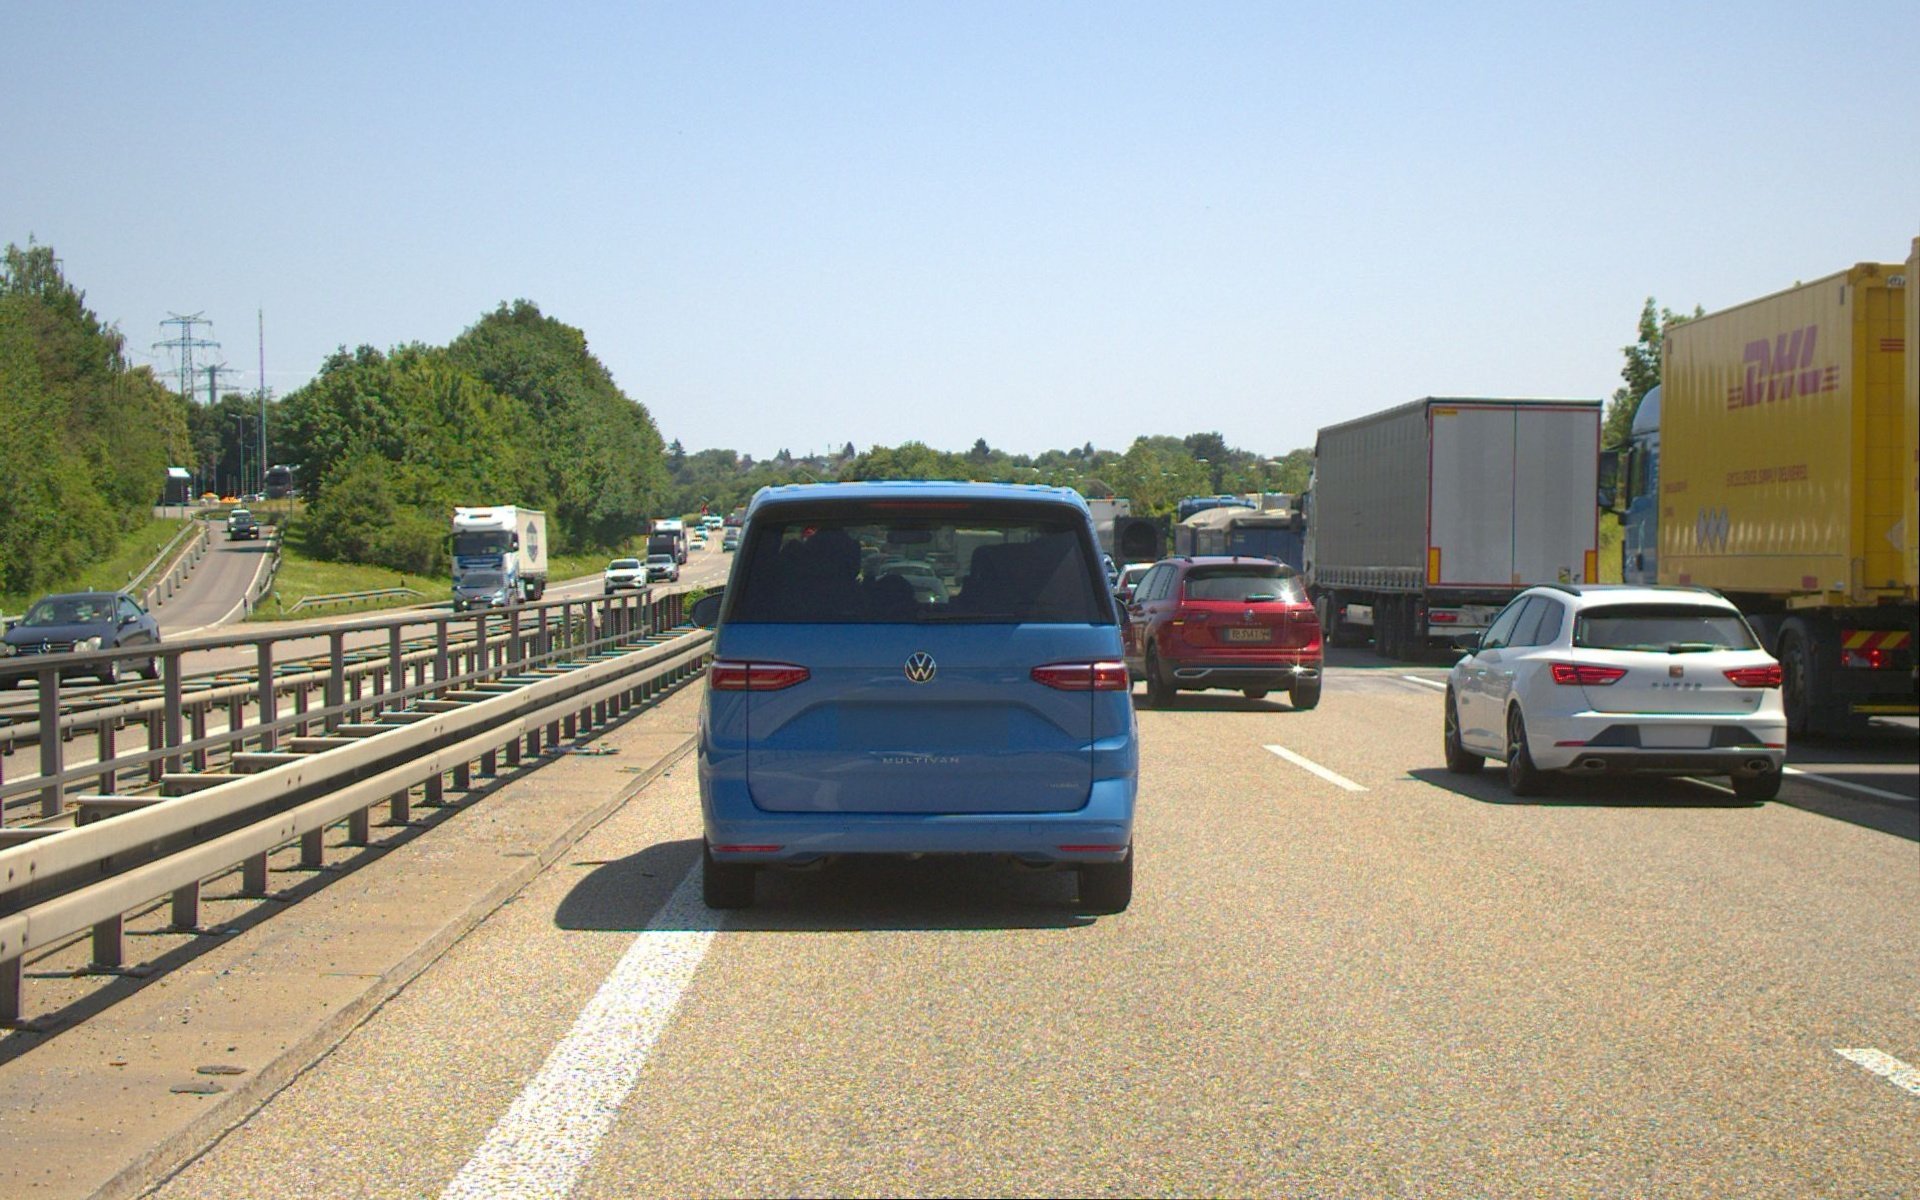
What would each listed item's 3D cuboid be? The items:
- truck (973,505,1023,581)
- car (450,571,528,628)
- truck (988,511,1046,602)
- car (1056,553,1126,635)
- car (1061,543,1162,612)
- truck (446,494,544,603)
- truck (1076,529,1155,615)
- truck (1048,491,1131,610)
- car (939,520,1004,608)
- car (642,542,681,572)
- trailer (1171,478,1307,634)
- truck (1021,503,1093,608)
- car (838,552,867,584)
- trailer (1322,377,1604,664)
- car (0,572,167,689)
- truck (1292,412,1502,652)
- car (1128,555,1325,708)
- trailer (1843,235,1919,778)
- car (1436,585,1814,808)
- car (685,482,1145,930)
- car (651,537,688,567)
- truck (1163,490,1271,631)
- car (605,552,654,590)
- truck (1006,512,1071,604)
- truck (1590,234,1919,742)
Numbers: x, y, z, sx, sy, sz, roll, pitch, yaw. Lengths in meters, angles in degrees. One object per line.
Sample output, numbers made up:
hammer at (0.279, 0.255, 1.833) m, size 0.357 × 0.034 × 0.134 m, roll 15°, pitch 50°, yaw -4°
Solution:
truck at (2.563, -3.851, 238.077) m, size 2.833 × 5.023 × 12.914 m, roll 1°, pitch 0°, yaw -2°
car at (-14.481, -0.033, 105.921) m, size 1.829 × 1.604 × 4.169 m, roll -2°, pitch 1°, yaw -1°
truck at (3.426, -2.613, 210.330) m, size 2.833 × 5.354 × 12.556 m, roll 1°, pitch 0°, yaw -2°
car at (3.296, -0.160, 87.265) m, size 1.583 × 2.007 × 3.493 m, roll 1°, pitch 0°, yaw 0°
car at (3.163, -0.476, 72.539) m, size 1.838 × 1.409 × 4.000 m, roll 0°, pitch 1°, yaw -2°
truck at (-19.127, -2.097, 141.827) m, size 2.989 × 4.264 × 7.189 m, roll -2°, pitch 1°, yaw -1°
truck at (6.110, -1.076, 136.131) m, size 2.355 × 3.207 × 9.741 m, roll 1°, pitch 0°, yaw -2°
truck at (5.677, -2.128, 152.159) m, size 2.833 × 5.023 × 11.147 m, roll 1°, pitch 0°, yaw -2°
car at (0.556, -1.830, 179.630) m, size 3.092 × 4.382 × 11.930 m, roll 1°, pitch 0°, yaw -1°
car at (-17.671, -2.566, 203.695) m, size 1.922 × 1.683 × 4.122 m, roll -2°, pitch 1°, yaw -1°
trailer at (7.079, -1.060, 88.585) m, size 2.379 × 3.731 × 11.188 m, roll 1°, pitch 0°, yaw -1°
truck at (4.796, -2.159, 172.244) m, size 2.833 × 5.023 × 11.817 m, roll 1°, pitch 0°, yaw -2°
car at (-6.777, -2.009, 216.500) m, size 1.739 × 1.904 × 3.681 m, roll 1°, pitch 0°, yaw -1°
trailer at (7.924, -1.169, 55.751) m, size 2.755 × 4.132 × 11.312 m, roll 1°, pitch 0°, yaw 0°
car at (-13.281, 0.425, 51.470) m, size 1.829 × 1.604 × 4.169 m, roll -2°, pitch 1°, yaw -1°
truck at (7.855, -1.196, 62.640) m, size 2.768 × 4.081 × 6.984 m, roll 1°, pitch 0°, yaw -1°
car at (2.900, 0.313, 38.117) m, size 1.851 × 1.603 × 4.000 m, roll 0°, pitch 1°, yaw 0°
trailer at (8.443, -0.674, 22.934) m, size 2.701 × 4.010 × 8.930 m, roll 1°, pitch 0°, yaw 0°
car at (4.495, 0.601, 23.832) m, size 1.781 × 1.382 × 4.188 m, roll 0°, pitch 1°, yaw 0°
car at (-0.196, 0.416, 16.137) m, size 1.882 × 1.831 × 4.000 m, roll 0°, pitch 1°, yaw 0°
car at (-17.586, -2.898, 208.352) m, size 1.922 × 1.683 × 4.122 m, roll -2°, pitch 1°, yaw -1°
truck at (7.001, -1.066, 94.442) m, size 2.367 × 3.709 × 6.033 m, roll 1°, pitch 0°, yaw -1°
car at (-15.746, -1.398, 163.758) m, size 1.922 × 1.683 × 4.122 m, roll -2°, pitch 1°, yaw -1°
truck at (4.320, -2.260, 191.647) m, size 2.833 × 4.869 × 13.221 m, roll 1°, pitch 0°, yaw -2°
truck at (8.359, -0.882, 32.581) m, size 2.722 × 4.041 × 10.336 m, roll 1°, pitch 0°, yaw -1°
